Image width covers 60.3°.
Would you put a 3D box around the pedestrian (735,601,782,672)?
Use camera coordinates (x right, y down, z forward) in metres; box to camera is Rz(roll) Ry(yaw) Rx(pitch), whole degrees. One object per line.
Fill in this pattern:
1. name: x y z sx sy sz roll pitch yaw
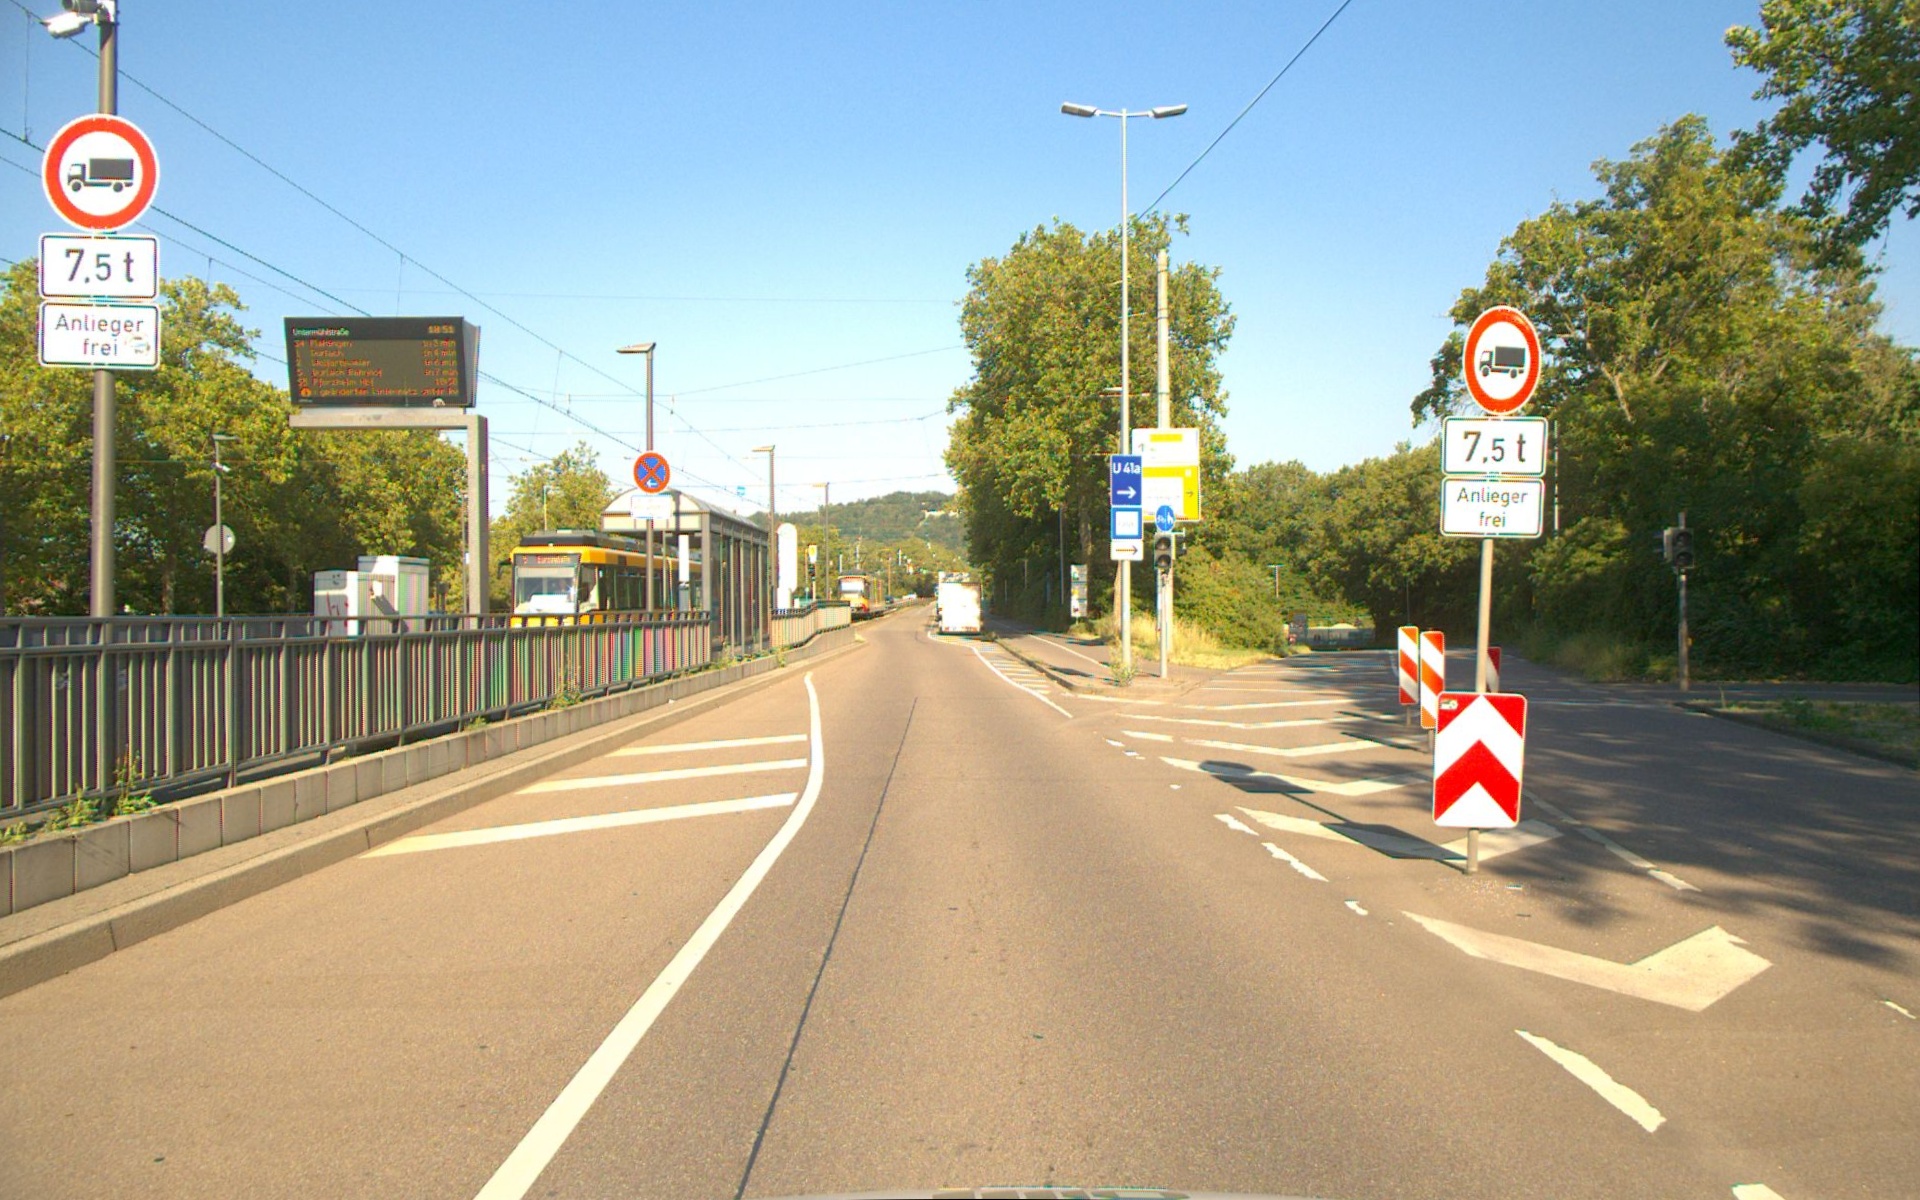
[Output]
1. pedestrian: -4.377 0.777 35.973 0.746 1.519 0.693 0 -1 33

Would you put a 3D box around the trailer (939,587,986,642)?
1. trailer: 0.187 0.721 85.640 2.204 2.742 5.948 0 0 2

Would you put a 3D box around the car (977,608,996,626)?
1. car: 2.253 1.453 143.011 1.619 1.462 3.777 0 0 1

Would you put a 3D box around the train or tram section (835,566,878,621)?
1. train or tram section: -8.319 -0.483 134.614 2.666 4.162 13.613 -1 0 0

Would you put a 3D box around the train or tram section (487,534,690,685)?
1. train or tram section: -11.376 0.293 52.790 2.769 4.076 15.874 1 0 0

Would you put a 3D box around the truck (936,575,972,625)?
1. truck: -0.549 0.032 133.612 2.686 3.850 10.087 1 0 -1

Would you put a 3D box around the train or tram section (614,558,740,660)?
1. train or tram section: -11.256 0.368 67.203 2.769 3.751 12.968 1 0 0
